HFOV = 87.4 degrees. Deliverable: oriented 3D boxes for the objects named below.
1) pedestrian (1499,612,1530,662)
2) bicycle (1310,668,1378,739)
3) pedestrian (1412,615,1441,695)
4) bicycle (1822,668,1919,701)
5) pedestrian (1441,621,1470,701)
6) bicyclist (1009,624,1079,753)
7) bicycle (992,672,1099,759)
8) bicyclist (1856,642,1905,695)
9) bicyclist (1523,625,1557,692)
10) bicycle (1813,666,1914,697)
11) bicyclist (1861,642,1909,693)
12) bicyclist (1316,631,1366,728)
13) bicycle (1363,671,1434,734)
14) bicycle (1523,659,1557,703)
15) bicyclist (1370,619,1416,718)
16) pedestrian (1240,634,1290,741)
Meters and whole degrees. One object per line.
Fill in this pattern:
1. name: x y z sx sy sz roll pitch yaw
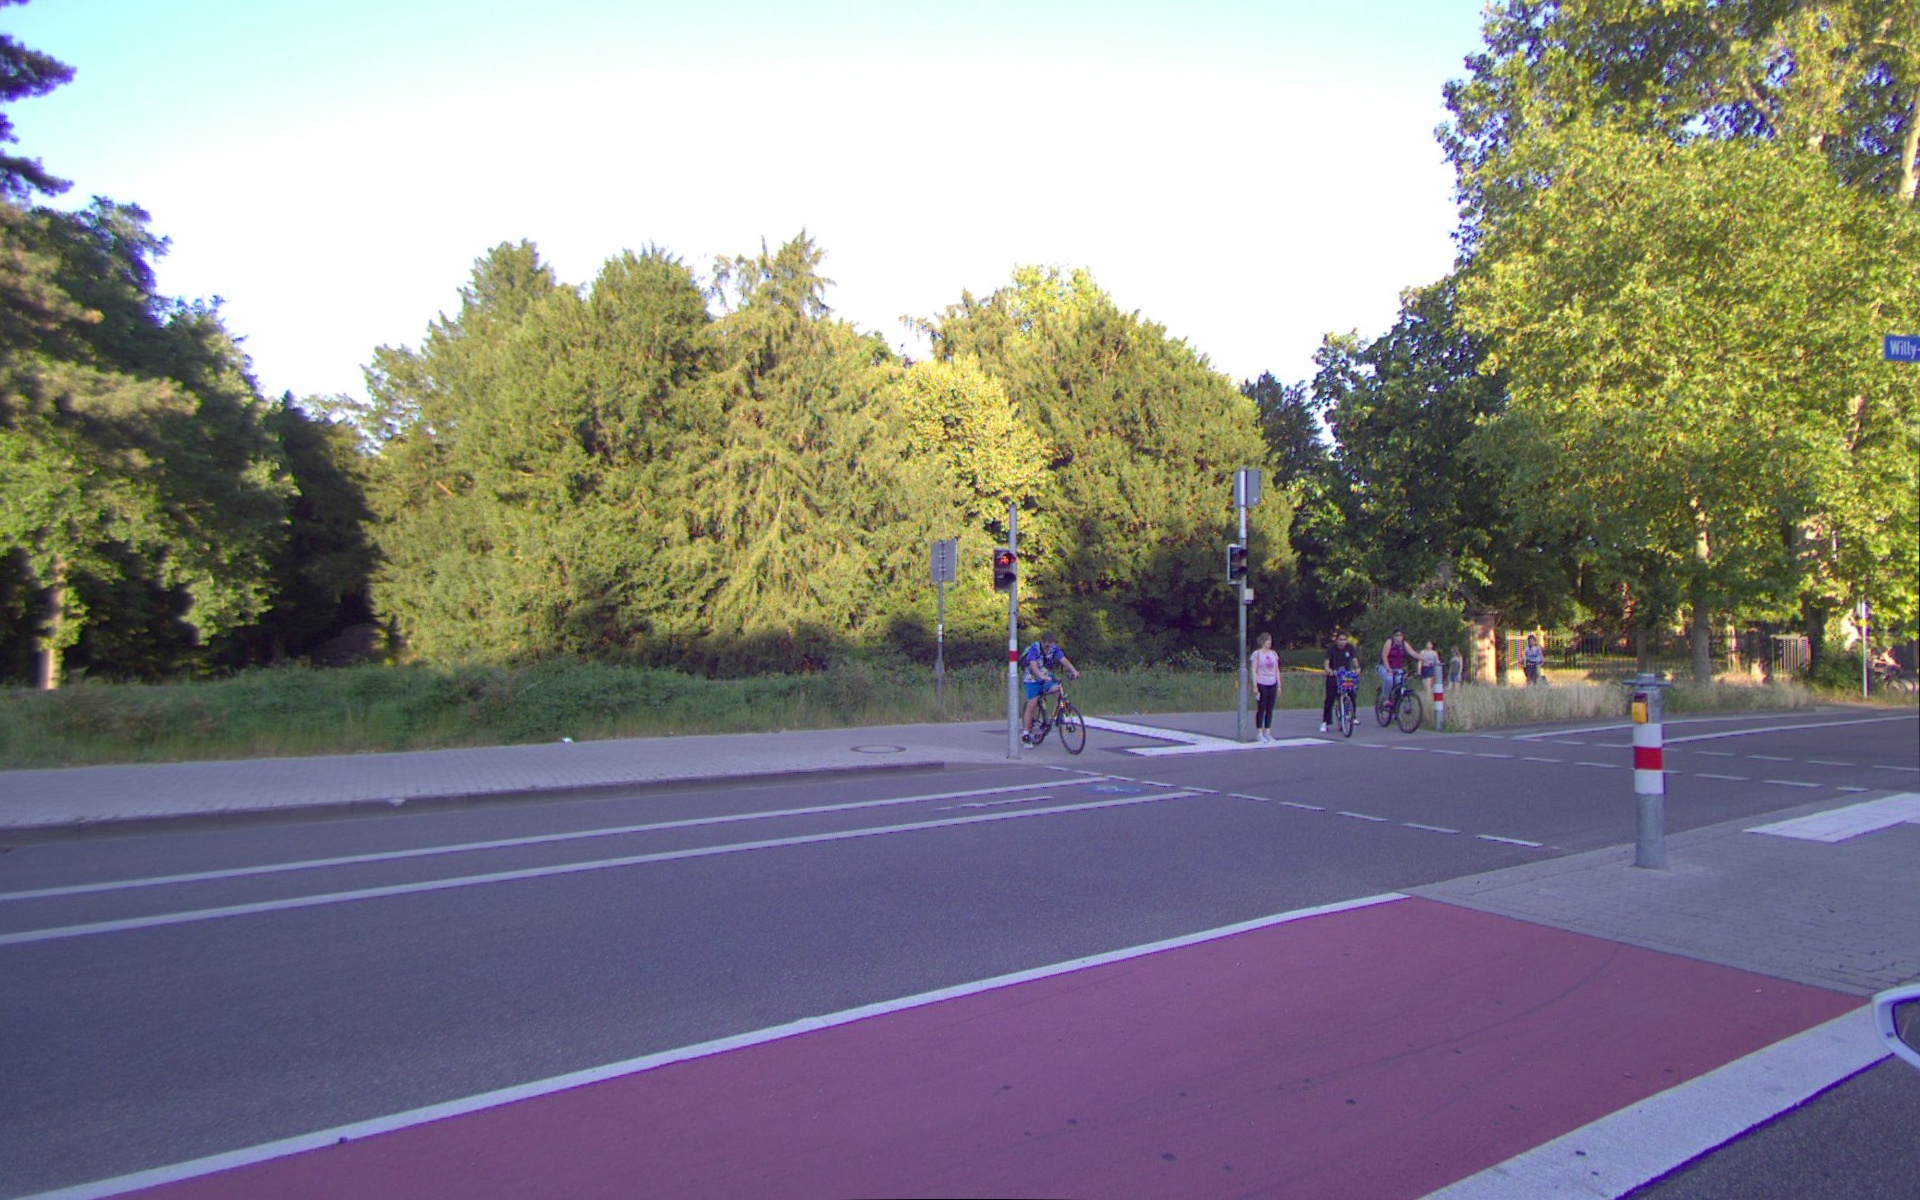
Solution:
1. pedestrian: 22.779 1.504 41.256 1.067 2.040 0.755 1 -1 -36
2. bicycle: 6.673 1.781 17.524 0.620 1.126 1.569 0 -2 1
3. pedestrian: 12.201 1.422 26.274 0.638 2.040 0.606 0 -1 22
4. bicycle: 29.237 2.667 32.122 0.765 0.936 2.420 1 -2 -29
5. pedestrian: 12.797 1.557 25.965 0.584 2.040 0.642 0 -1 20
6. bicyclist: 1.251 1.293 14.942 0.730 1.848 0.705 3 -2 -34
7. bicycle: 1.222 1.658 14.875 0.761 1.115 2.113 1 -2 -20
8. bicyclist: 29.312 2.168 32.004 0.743 1.652 0.954 1 -2 -29
9. bicyclist: 15.599 1.565 27.008 0.743 1.751 0.943 0 -1 28
10. bicycle: 30.381 2.736 33.814 0.765 0.936 2.420 1 -2 -29
11. bicyclist: 30.670 2.221 33.304 0.743 1.652 0.954 1 -2 -29
12. bicyclist: 6.680 1.387 17.630 0.618 1.671 0.640 0 -2 1
13. bicycle: 8.020 1.848 18.451 0.568 1.043 1.772 0 -2 1
14. bicycle: 15.568 2.155 26.994 0.728 1.046 2.294 0 -1 29
15. bicyclist: 8.030 1.262 18.645 0.564 1.803 0.640 0 -2 1
16. pedestrian: 4.977 1.409 16.409 0.492 1.718 0.604 1 -2 -28
